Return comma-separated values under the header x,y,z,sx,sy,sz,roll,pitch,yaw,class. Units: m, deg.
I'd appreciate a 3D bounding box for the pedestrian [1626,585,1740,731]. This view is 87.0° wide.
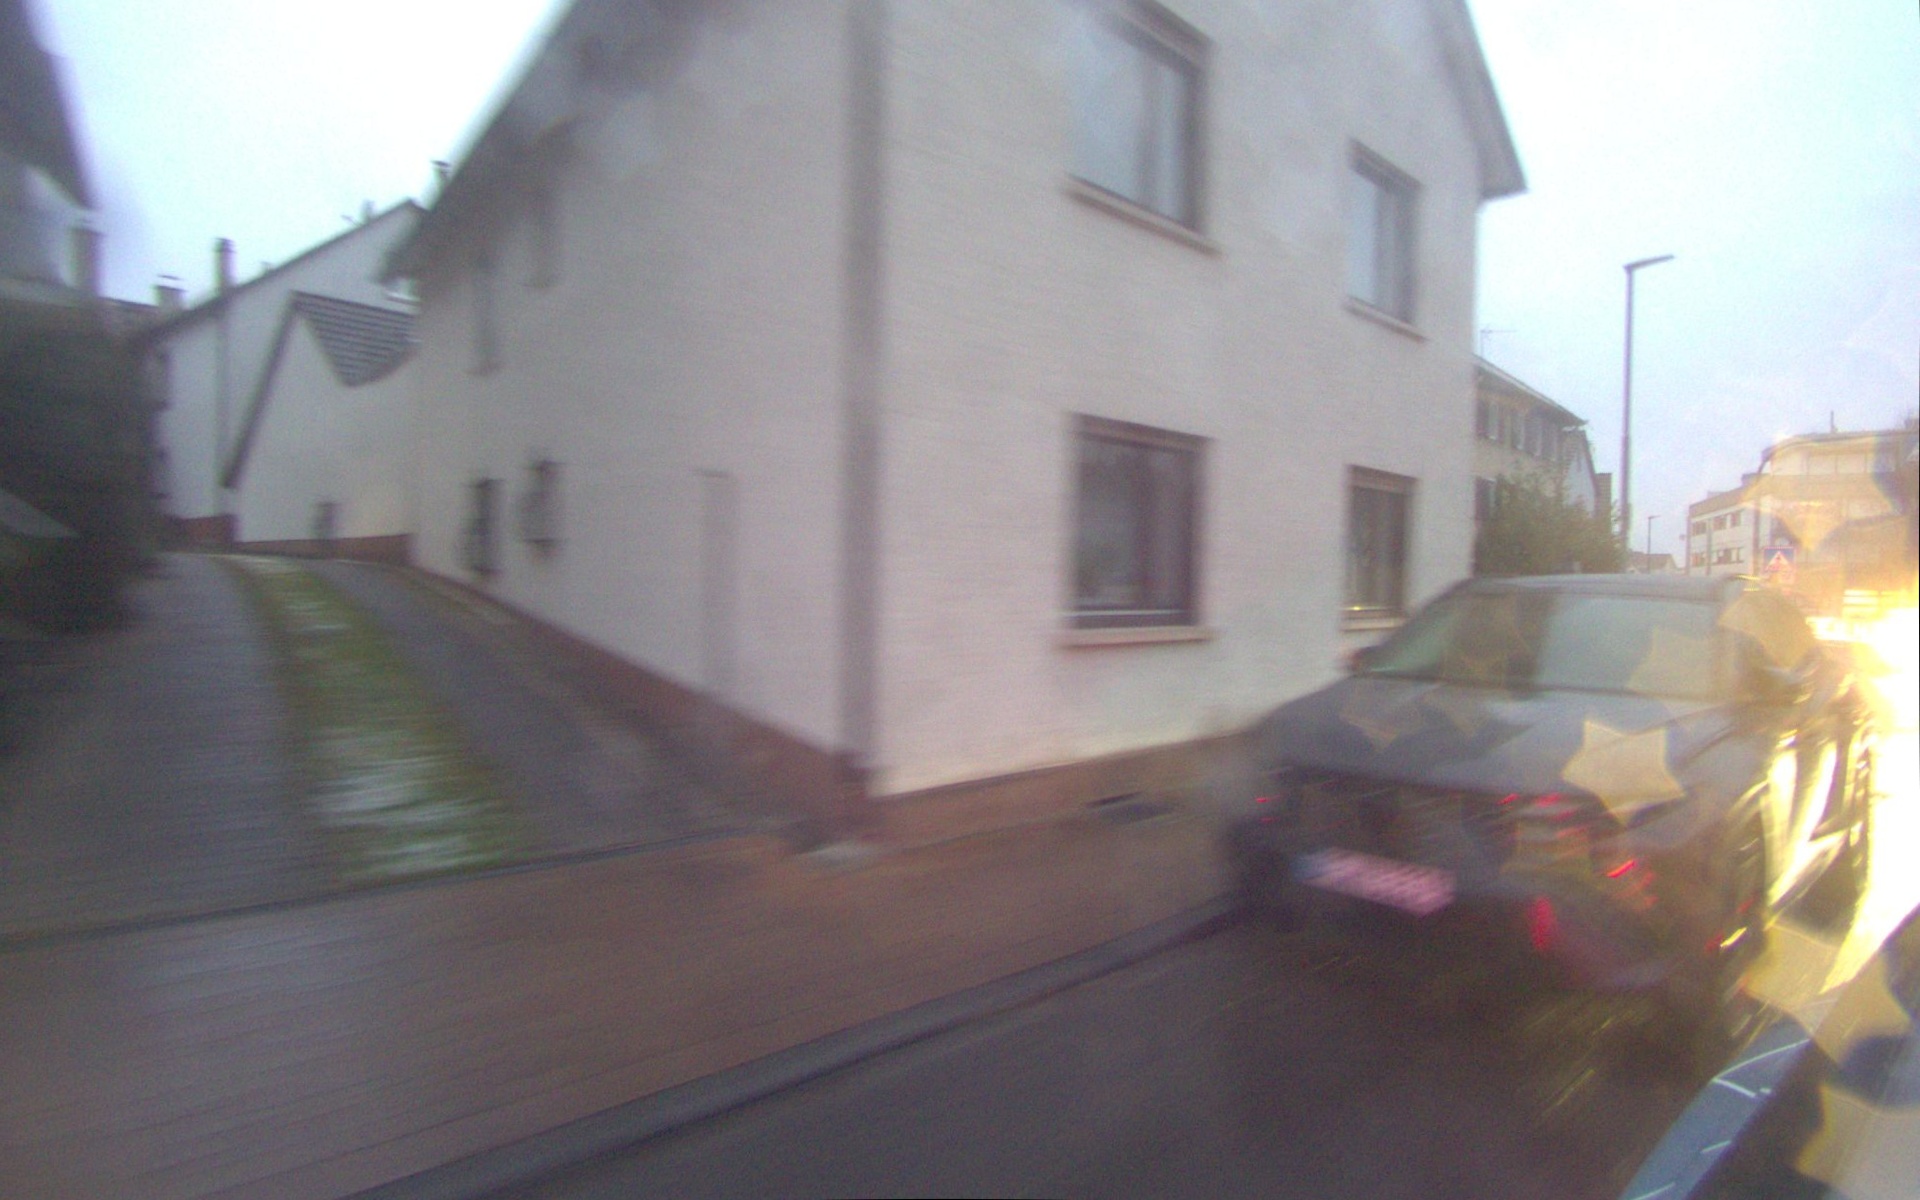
x,y,z,sx,sy,sz,roll,pitch,yaw,class
9.031,0.692,12.645,0.975,1.687,0.869,1,3,-41,pedestrian

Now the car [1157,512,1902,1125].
x,y,z,sx,sy,sz,roll,pitch,yaw,class
2.999,0.589,4.864,4.261,1.658,1.850,0,0,-42,car

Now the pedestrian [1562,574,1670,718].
x,y,z,sx,sy,sz,roll,pitch,yaw,class
8.558,0.573,13.201,0.955,1.754,0.850,1,3,-41,pedestrian

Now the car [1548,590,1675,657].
x,y,z,sx,sy,sz,roll,pitch,yaw,class
17.094,0.585,26.585,2.581,1.566,1.528,3,1,41,car

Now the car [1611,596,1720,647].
x,y,z,sx,sy,sz,roll,pitch,yaw,class
23.307,0.675,33.459,2.762,1.492,1.405,4,2,42,car

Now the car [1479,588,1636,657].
x,y,z,sx,sy,sz,roll,pitch,yaw,class
14.836,0.513,25.186,3.066,1.492,1.525,4,2,44,car

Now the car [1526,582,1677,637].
x,y,z,sx,sy,sz,roll,pitch,yaw,class
26.225,0.360,41.482,4.978,1.912,1.908,4,2,41,car

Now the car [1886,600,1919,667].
x,y,z,sx,sy,sz,roll,pitch,yaw,class
25.296,0.838,25.920,1.913,1.638,3.817,0,0,36,car

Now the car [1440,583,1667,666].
x,y,z,sx,sy,sz,roll,pitch,yaw,class
12.722,0.464,21.842,3.901,1.492,1.723,4,2,44,car

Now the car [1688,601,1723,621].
x,y,z,sx,sy,sz,roll,pitch,yaw,class
63.269,0.913,85.974,1.884,1.637,3.788,0,0,29,car

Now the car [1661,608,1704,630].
x,y,z,sx,sy,sz,roll,pitch,yaw,class
52.215,1.344,73.210,1.883,1.485,3.963,0,0,26,car

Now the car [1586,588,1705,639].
x,y,z,sx,sy,sz,roll,pitch,yaw,class
28.919,0.514,42.772,4.033,1.866,1.839,4,2,37,car
